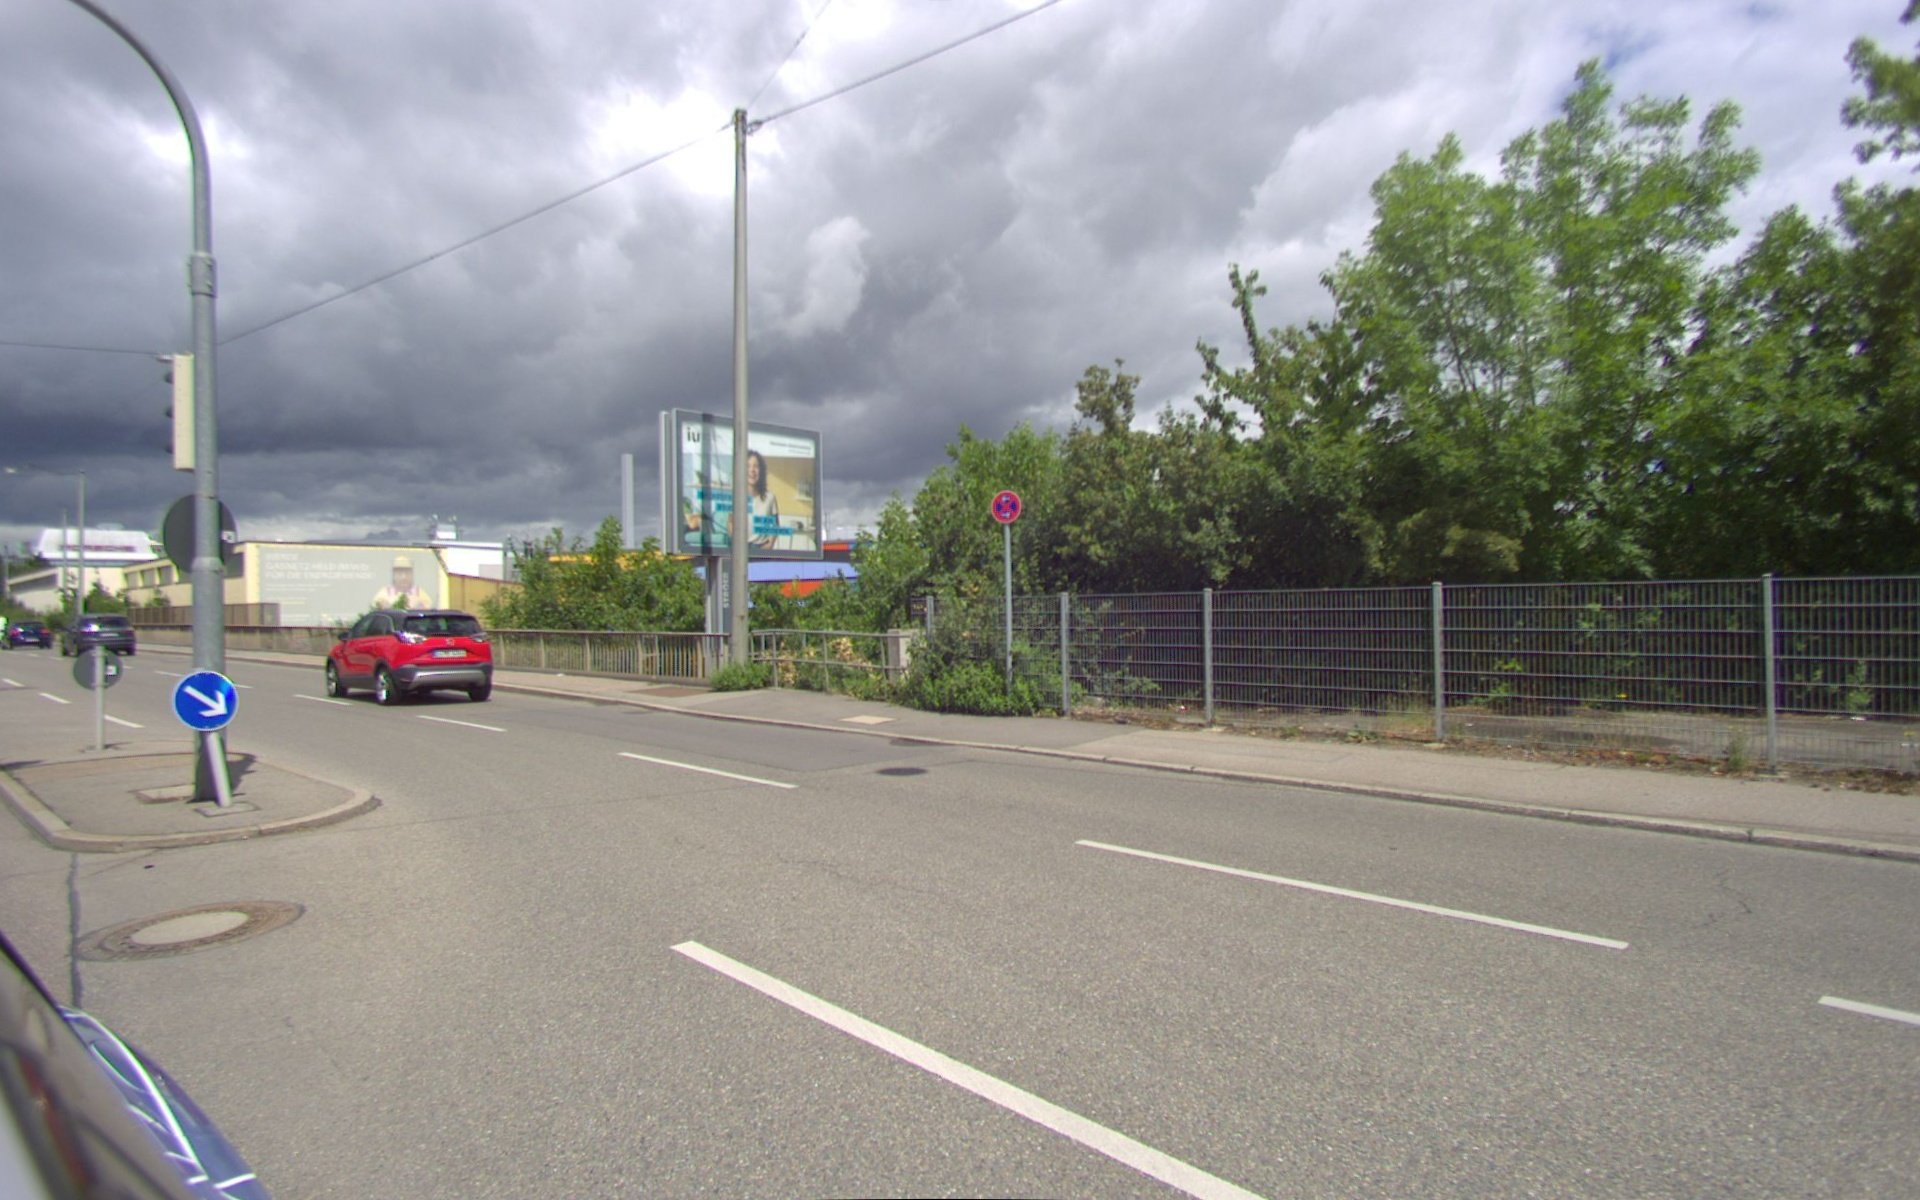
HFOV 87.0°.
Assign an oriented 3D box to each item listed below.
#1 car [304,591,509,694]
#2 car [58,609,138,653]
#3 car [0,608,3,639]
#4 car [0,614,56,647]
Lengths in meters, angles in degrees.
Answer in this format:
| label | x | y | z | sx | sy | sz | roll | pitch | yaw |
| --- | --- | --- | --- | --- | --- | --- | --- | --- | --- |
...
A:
| label | x | y | z | sx | sy | sz | roll | pitch | yaw |
| --- | --- | --- | --- | --- | --- | --- | --- | --- | --- |
| car | -9.930 | 0.733 | 18.054 | 4.151 | 1.611 | 1.910 | -1 | -3 | 42 |
| car | -33.716 | 1.199 | 39.548 | 3.998 | 1.630 | 1.837 | -2 | -1 | 42 |
| car | -65.980 | 1.599 | 68.021 | 5.647 | 2.029 | 1.872 | -1 | 0 | 41 |
| car | -48.159 | 1.562 | 52.211 | 3.998 | 1.630 | 1.837 | -2 | -1 | 42 |
